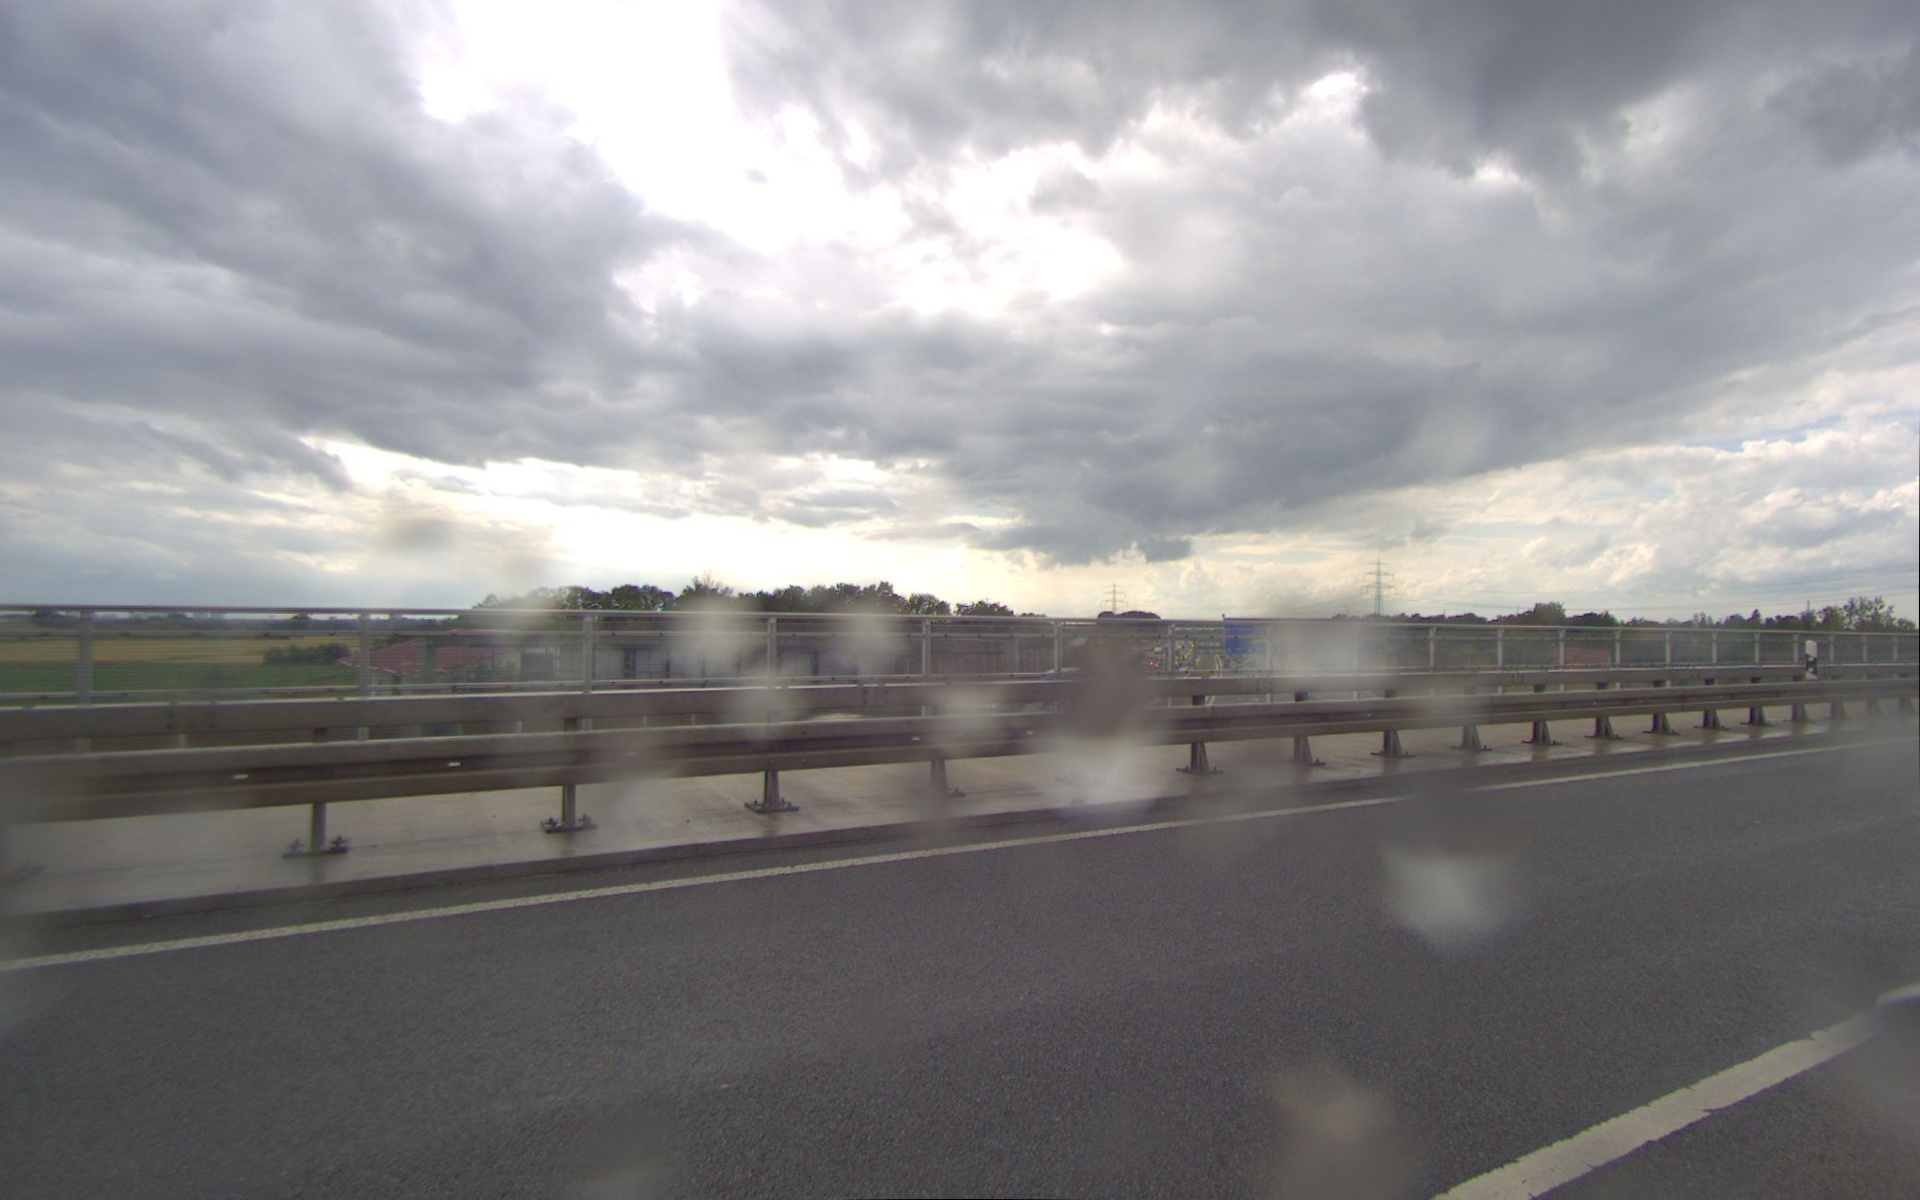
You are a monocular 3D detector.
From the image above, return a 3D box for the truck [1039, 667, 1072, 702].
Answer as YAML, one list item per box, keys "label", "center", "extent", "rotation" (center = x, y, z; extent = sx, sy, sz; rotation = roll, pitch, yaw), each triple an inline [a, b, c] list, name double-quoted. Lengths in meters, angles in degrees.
- label: "truck"
  center: [12.821, 11.149, 133.929]
  extent: [2.388, 3.812, 11.175]
  rotation: [1, 0, 15]

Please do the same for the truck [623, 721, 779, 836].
- label: "truck"
  center: [-13.150, 9.012, 52.505]
  extent: [2.388, 4.055, 11.173]
  rotation: [1, 0, 16]

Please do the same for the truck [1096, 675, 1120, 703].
- label: "truck"
  center: [25.643, 15.294, 173.683]
  extent: [2.388, 3.812, 11.173]
  rotation: [1, 0, 16]

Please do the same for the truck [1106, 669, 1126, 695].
- label: "truck"
  center: [29.931, 15.618, 192.438]
  extent: [2.388, 4.250, 11.173]
  rotation: [1, 0, 16]
